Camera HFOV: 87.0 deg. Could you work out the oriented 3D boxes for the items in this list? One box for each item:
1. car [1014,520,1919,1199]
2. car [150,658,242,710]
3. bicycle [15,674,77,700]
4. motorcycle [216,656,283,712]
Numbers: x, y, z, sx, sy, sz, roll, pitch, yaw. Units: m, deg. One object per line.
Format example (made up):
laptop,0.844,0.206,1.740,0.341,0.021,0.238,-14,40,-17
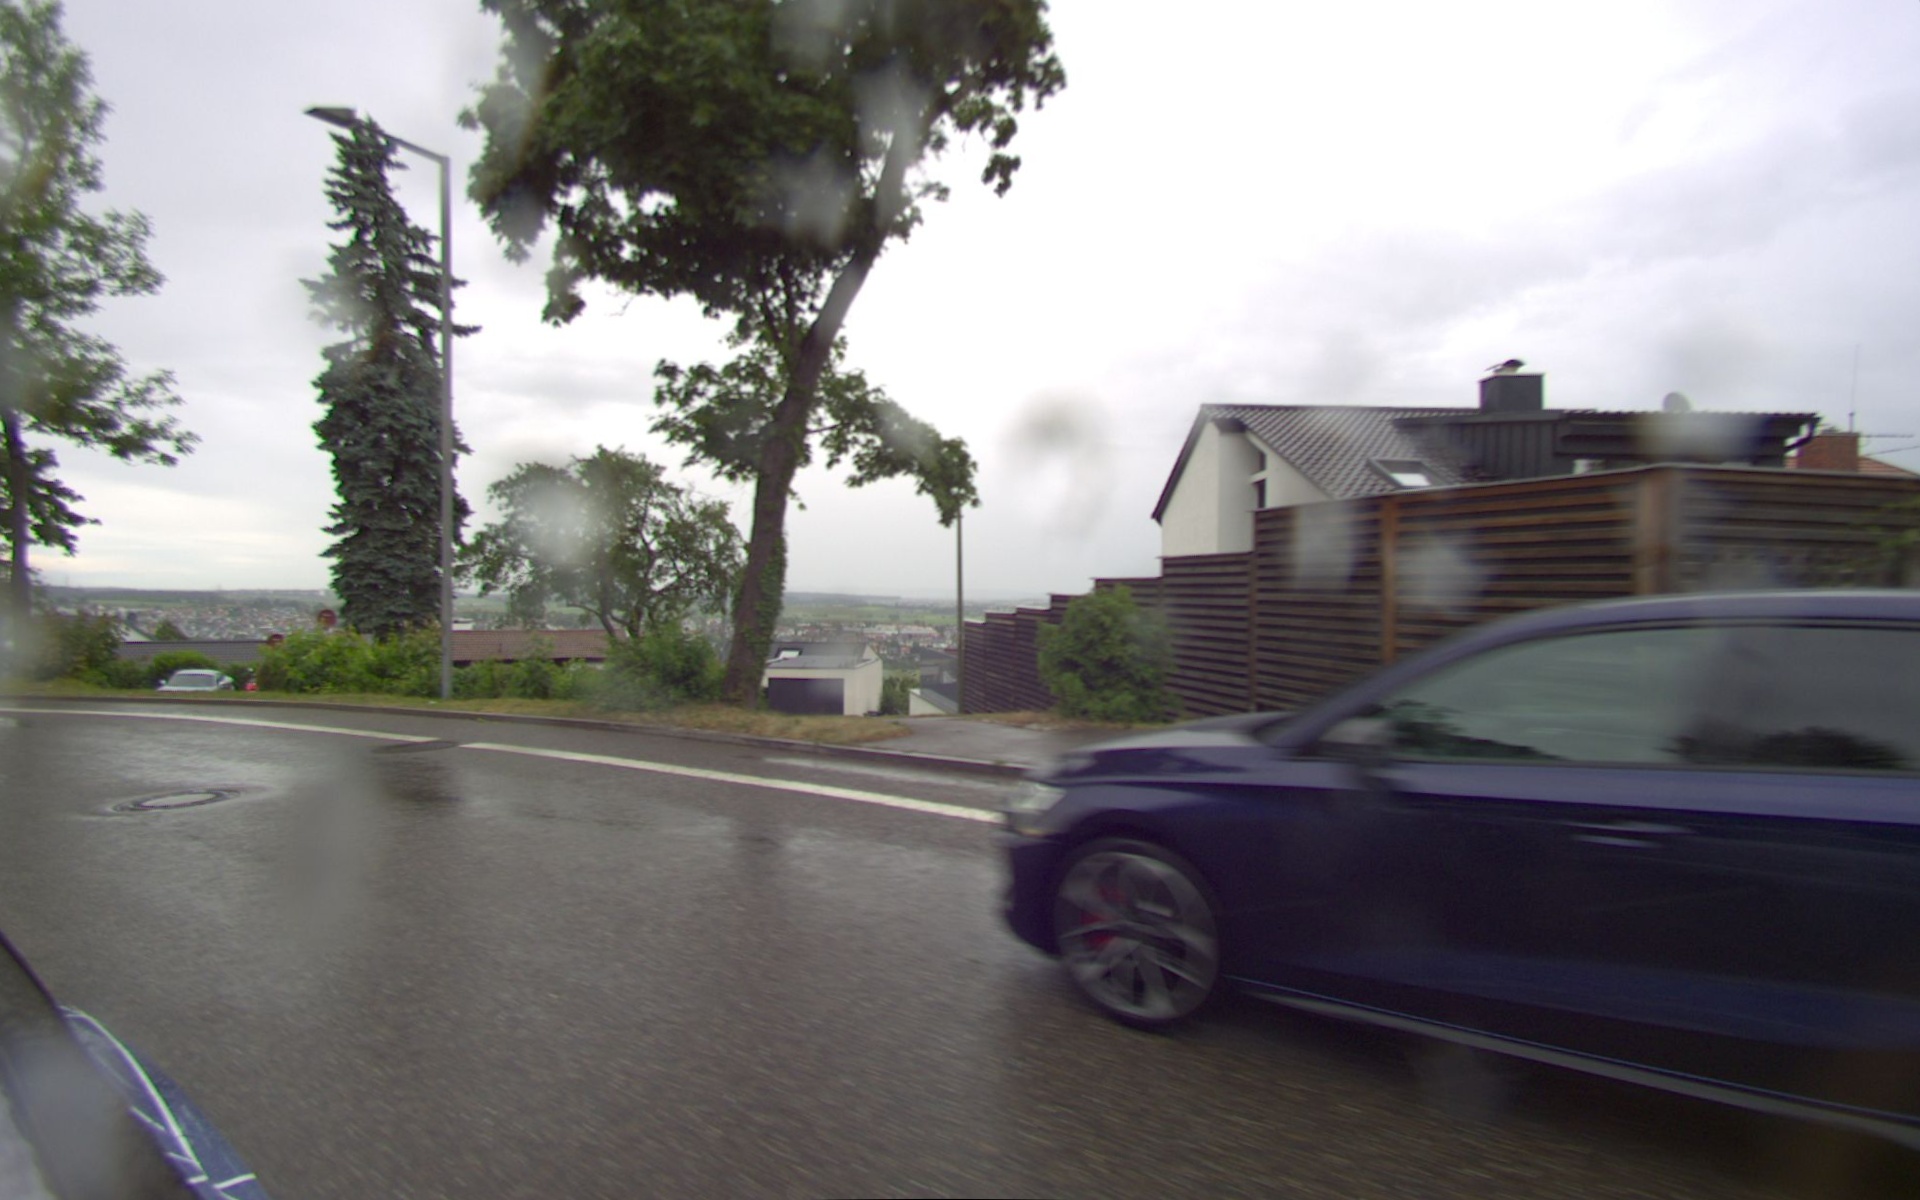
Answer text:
car,2.334,0.534,2.898,4.164,1.431,1.758,-1,1,42
car,-28.177,3.070,37.454,1.756,1.262,4.261,4,1,-25
bicycle,-34.179,3.253,37.846,1.641,0.972,0.431,2,-3,-21
motorcycle,-26.635,3.089,38.023,1.197,1.274,3.889,-4,8,-23
